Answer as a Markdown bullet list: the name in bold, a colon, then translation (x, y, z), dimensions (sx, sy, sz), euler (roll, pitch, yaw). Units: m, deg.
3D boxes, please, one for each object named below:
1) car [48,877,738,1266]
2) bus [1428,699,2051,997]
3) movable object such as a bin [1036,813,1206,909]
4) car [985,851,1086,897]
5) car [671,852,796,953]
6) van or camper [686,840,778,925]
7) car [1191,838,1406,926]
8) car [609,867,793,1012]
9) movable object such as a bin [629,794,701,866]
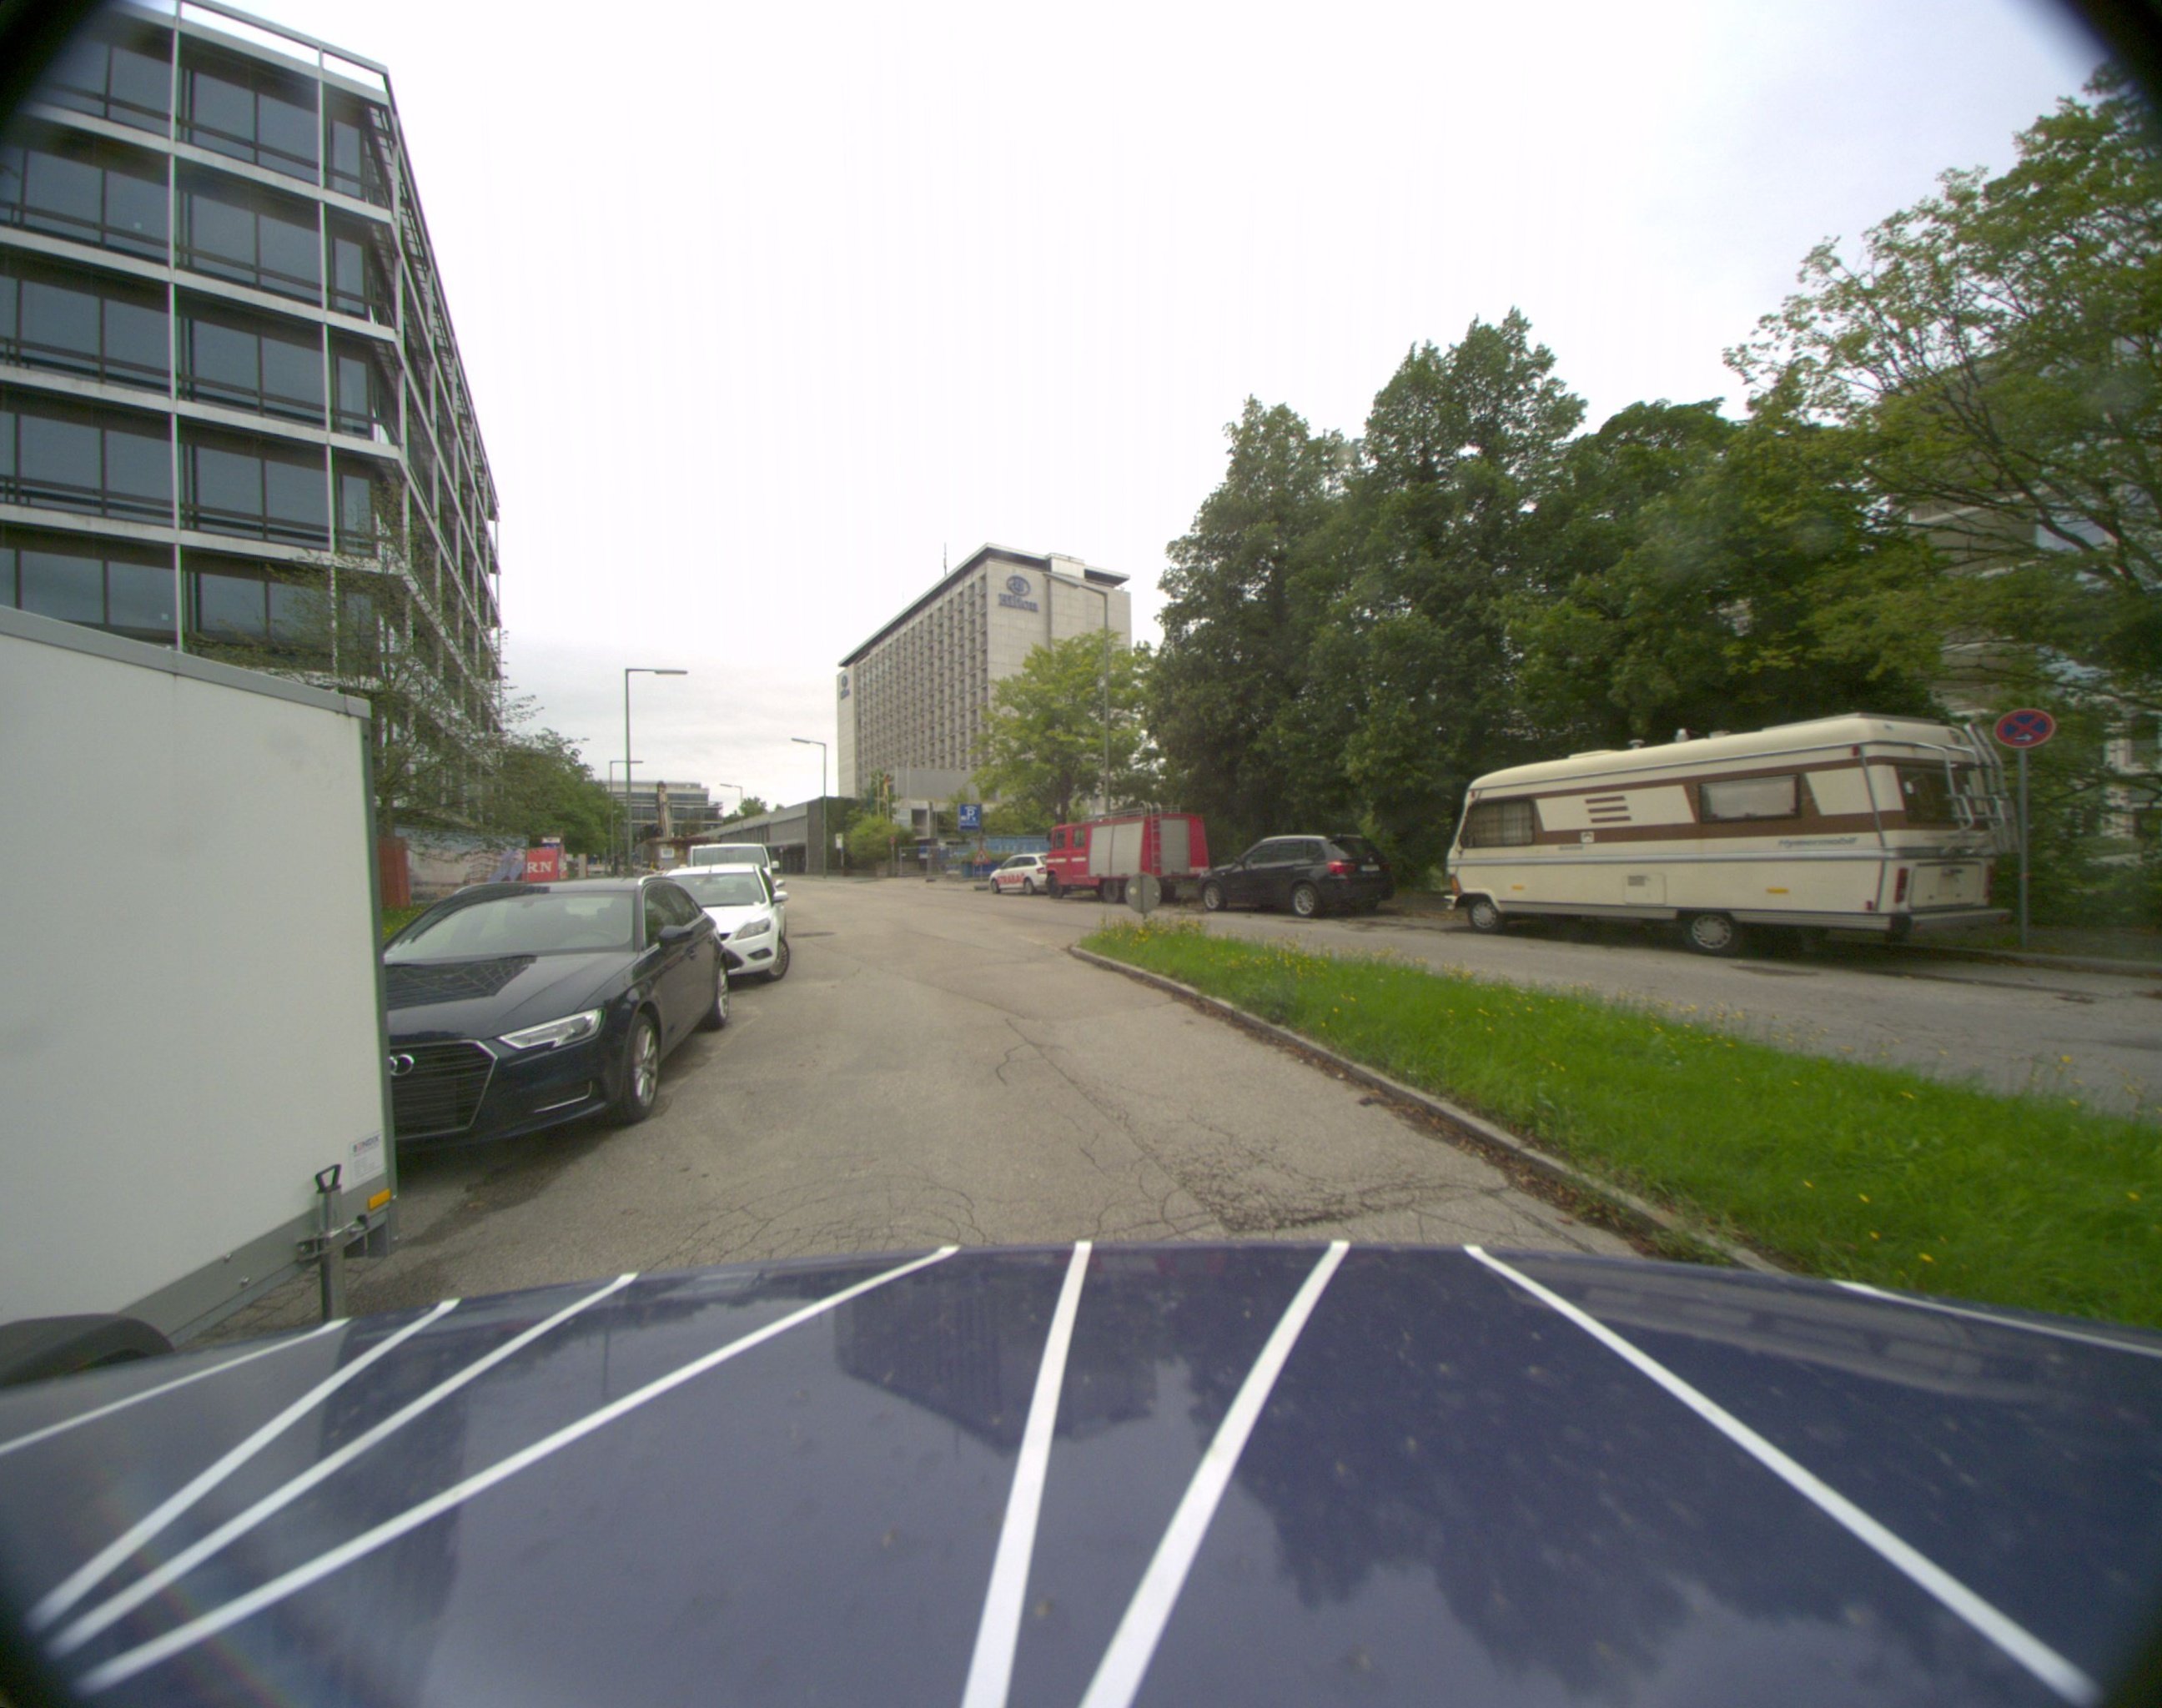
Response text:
- **car**: translation (-3.808, 0.943, 5.379), dimensions (1.879, 1.428, 4.322), euler (0, 0, -16)
- **bus**: translation (7.714, -0.065, 9.933), dimensions (2.325, 2.683, 5.723), euler (-1, 0, -23)
- **movable object such as a bin**: translation (0.929, 0.170, 22.523), dimensions (2.114, 2.444, 6.172), euler (-1, 0, -28)
- **car**: translation (-1.766, 0.701, 28.315), dimensions (1.785, 1.540, 4.246), euler (-1, 0, -35)
- **car**: translation (-7.139, 0.832, 15.580), dimensions (2.003, 1.718, 4.440), euler (-1, 1, -26)
- **van or camper**: translation (-9.680, 0.657, 20.838), dimensions (2.003, 2.002, 5.364), euler (-1, 1, -27)
- **car**: translation (4.504, 0.520, 16.440), dimensions (1.785, 1.640, 4.449), euler (-1, 0, -30)
- **car**: translation (-5.001, 0.968, 10.556), dimensions (1.774, 1.477, 4.213), euler (-1, 0, -20)
- **movable object such as a bin**: translation (-23.949, -1.293, 43.796), dimensions (3.256, 3.695, 8.986), euler (-1, 1, -29)
